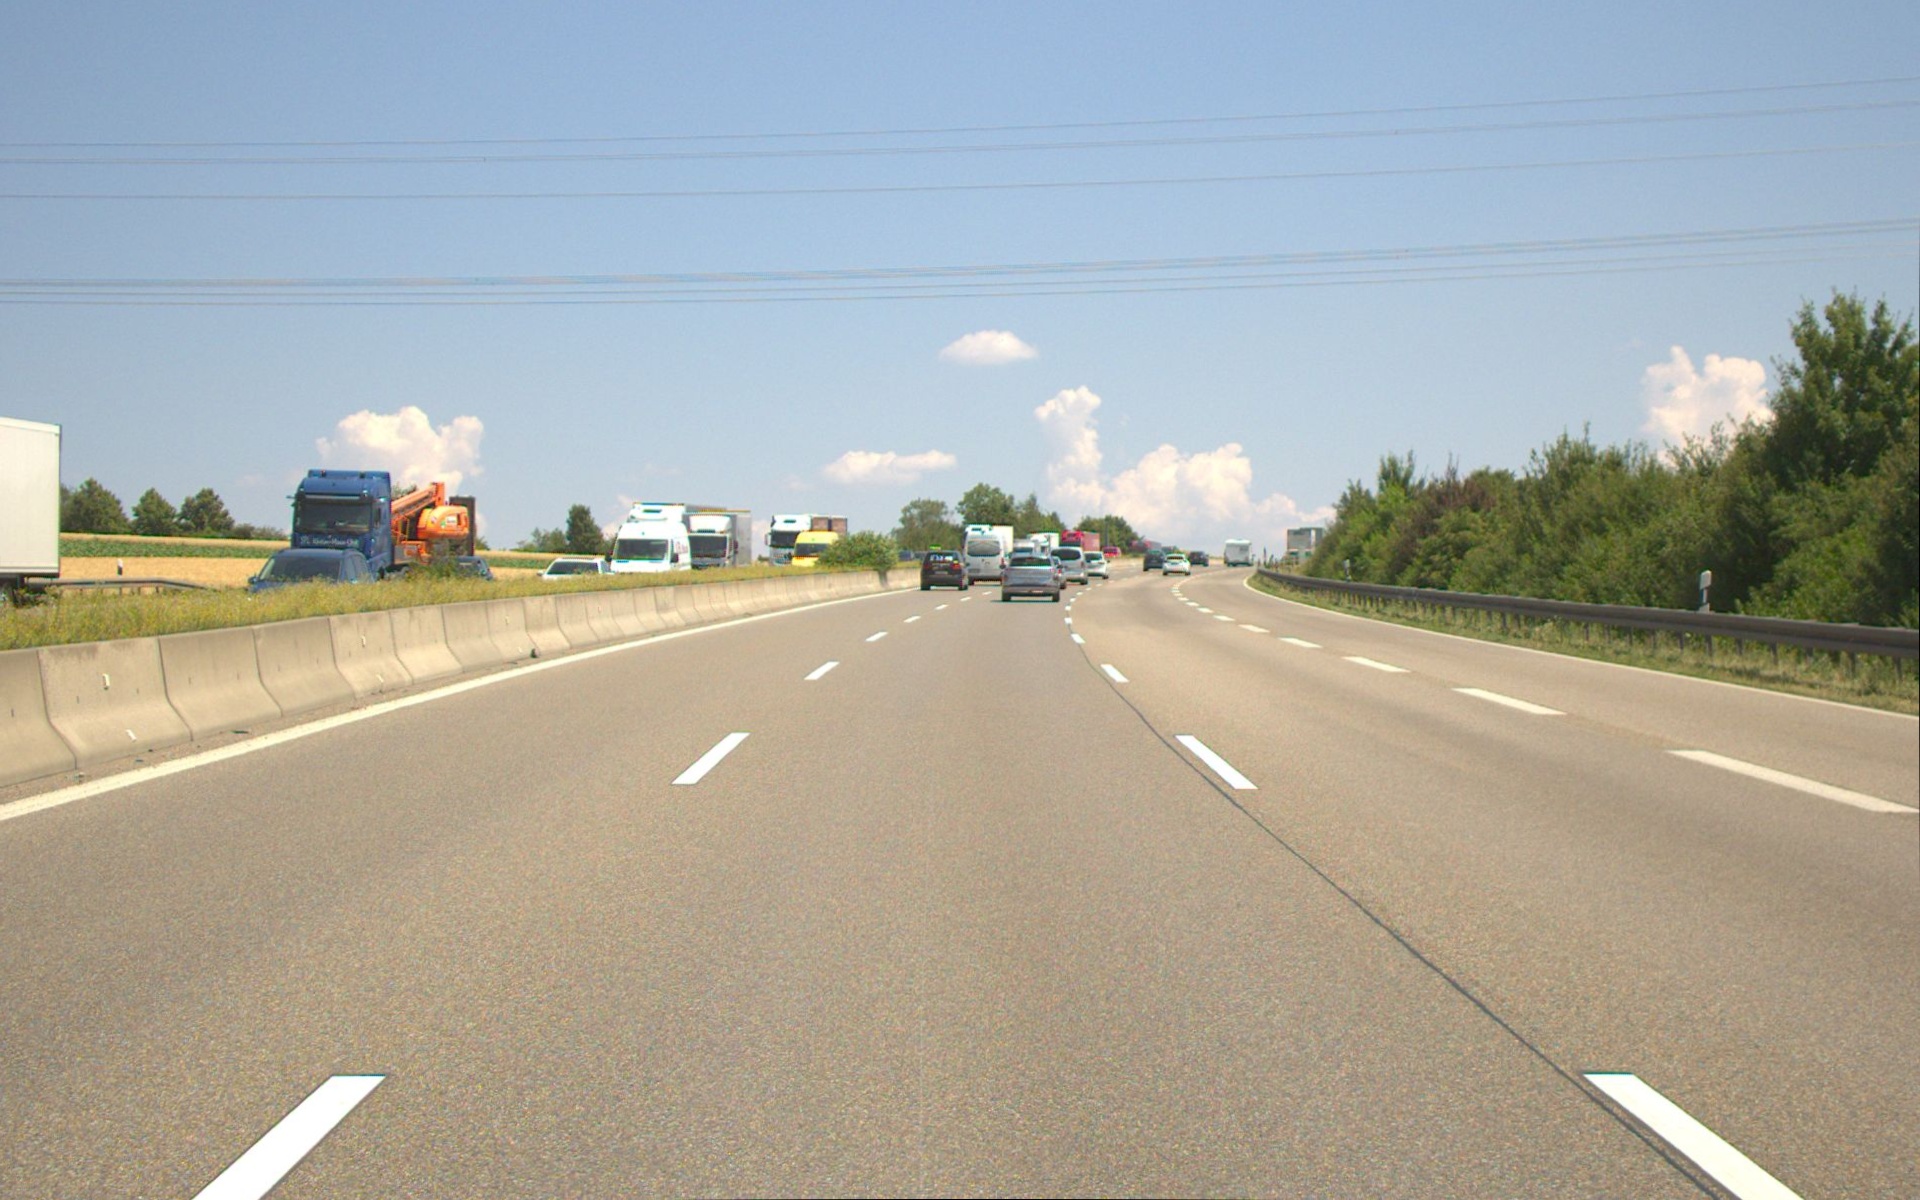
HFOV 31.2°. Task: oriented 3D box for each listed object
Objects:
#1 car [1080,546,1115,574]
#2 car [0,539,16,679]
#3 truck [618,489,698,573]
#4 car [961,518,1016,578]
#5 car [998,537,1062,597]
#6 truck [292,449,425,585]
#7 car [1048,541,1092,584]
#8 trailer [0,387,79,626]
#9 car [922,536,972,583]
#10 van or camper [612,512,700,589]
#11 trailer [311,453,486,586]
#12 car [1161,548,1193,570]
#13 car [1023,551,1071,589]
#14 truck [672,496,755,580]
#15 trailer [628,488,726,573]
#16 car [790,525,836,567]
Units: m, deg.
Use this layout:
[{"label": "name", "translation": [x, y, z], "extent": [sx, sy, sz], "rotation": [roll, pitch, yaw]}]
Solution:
[{"label": "car", "translation": [8.095, -2.344, 202.333], "extent": [1.994, 1.546, 4.000], "rotation": [2, 1, 3]}, {"label": "car", "translation": [-11.657, 0.115, 36.727], "extent": [1.879, 1.565, 4.589], "rotation": [1, 1, 0]}, {"label": "truck", "translation": [-14.690, -3.327, 167.868], "extent": [2.853, 4.013, 6.514], "rotation": [1, 1, 4]}, {"label": "car", "translation": [1.351, -2.442, 162.809], "extent": [2.180, 2.616, 4.671], "rotation": [1, -2, 5]}, {"label": "car", "translation": [2.270, -1.051, 110.594], "extent": [1.993, 1.744, 3.999], "rotation": [1, -2, 1]}, {"label": "truck", "translation": [-17.921, -2.457, 102.776], "extent": [2.776, 3.924, 6.138], "rotation": [0, 1, 1]}, {"label": "car", "translation": [5.397, -1.822, 168.059], "extent": [1.994, 1.897, 3.999], "rotation": [0, -2, 4]}, {"label": "trailer", "translation": [-19.195, -1.702, 61.076], "extent": [3.242, 4.372, 14.028], "rotation": [1, 1, 1]}, {"label": "car", "translation": [-0.520, -1.678, 141.186], "extent": [1.847, 1.854, 4.205], "rotation": [1, 2, 2]}, {"label": "van or camper", "translation": [-10.046, -1.621, 114.065], "extent": [2.067, 2.455, 7.520], "rotation": [-1, 1, 1]}, {"label": "trailer", "translation": [-17.729, -2.494, 109.607], "extent": [2.839, 3.944, 13.727], "rotation": [1, 1, 2]}, {"label": "car", "translation": [14.681, -2.792, 232.136], "extent": [1.902, 1.437, 3.999], "rotation": [1, 1, 7]}, {"label": "car", "translation": [3.734, -1.271, 147.827], "extent": [1.993, 1.579, 4.000], "rotation": [0, 0, 0]}, {"label": "truck", "translation": [-11.262, -2.846, 157.617], "extent": [2.936, 3.730, 7.779], "rotation": [1, 1, 2]}, {"label": "trailer", "translation": [-14.248, -3.462, 174.342], "extent": [2.793, 4.091, 14.005], "rotation": [1, 1, 4]}, {"label": "car", "translation": [-9.301, -3.433, 217.883], "extent": [2.331, 2.549, 5.605], "rotation": [1, 2, 4]}]
